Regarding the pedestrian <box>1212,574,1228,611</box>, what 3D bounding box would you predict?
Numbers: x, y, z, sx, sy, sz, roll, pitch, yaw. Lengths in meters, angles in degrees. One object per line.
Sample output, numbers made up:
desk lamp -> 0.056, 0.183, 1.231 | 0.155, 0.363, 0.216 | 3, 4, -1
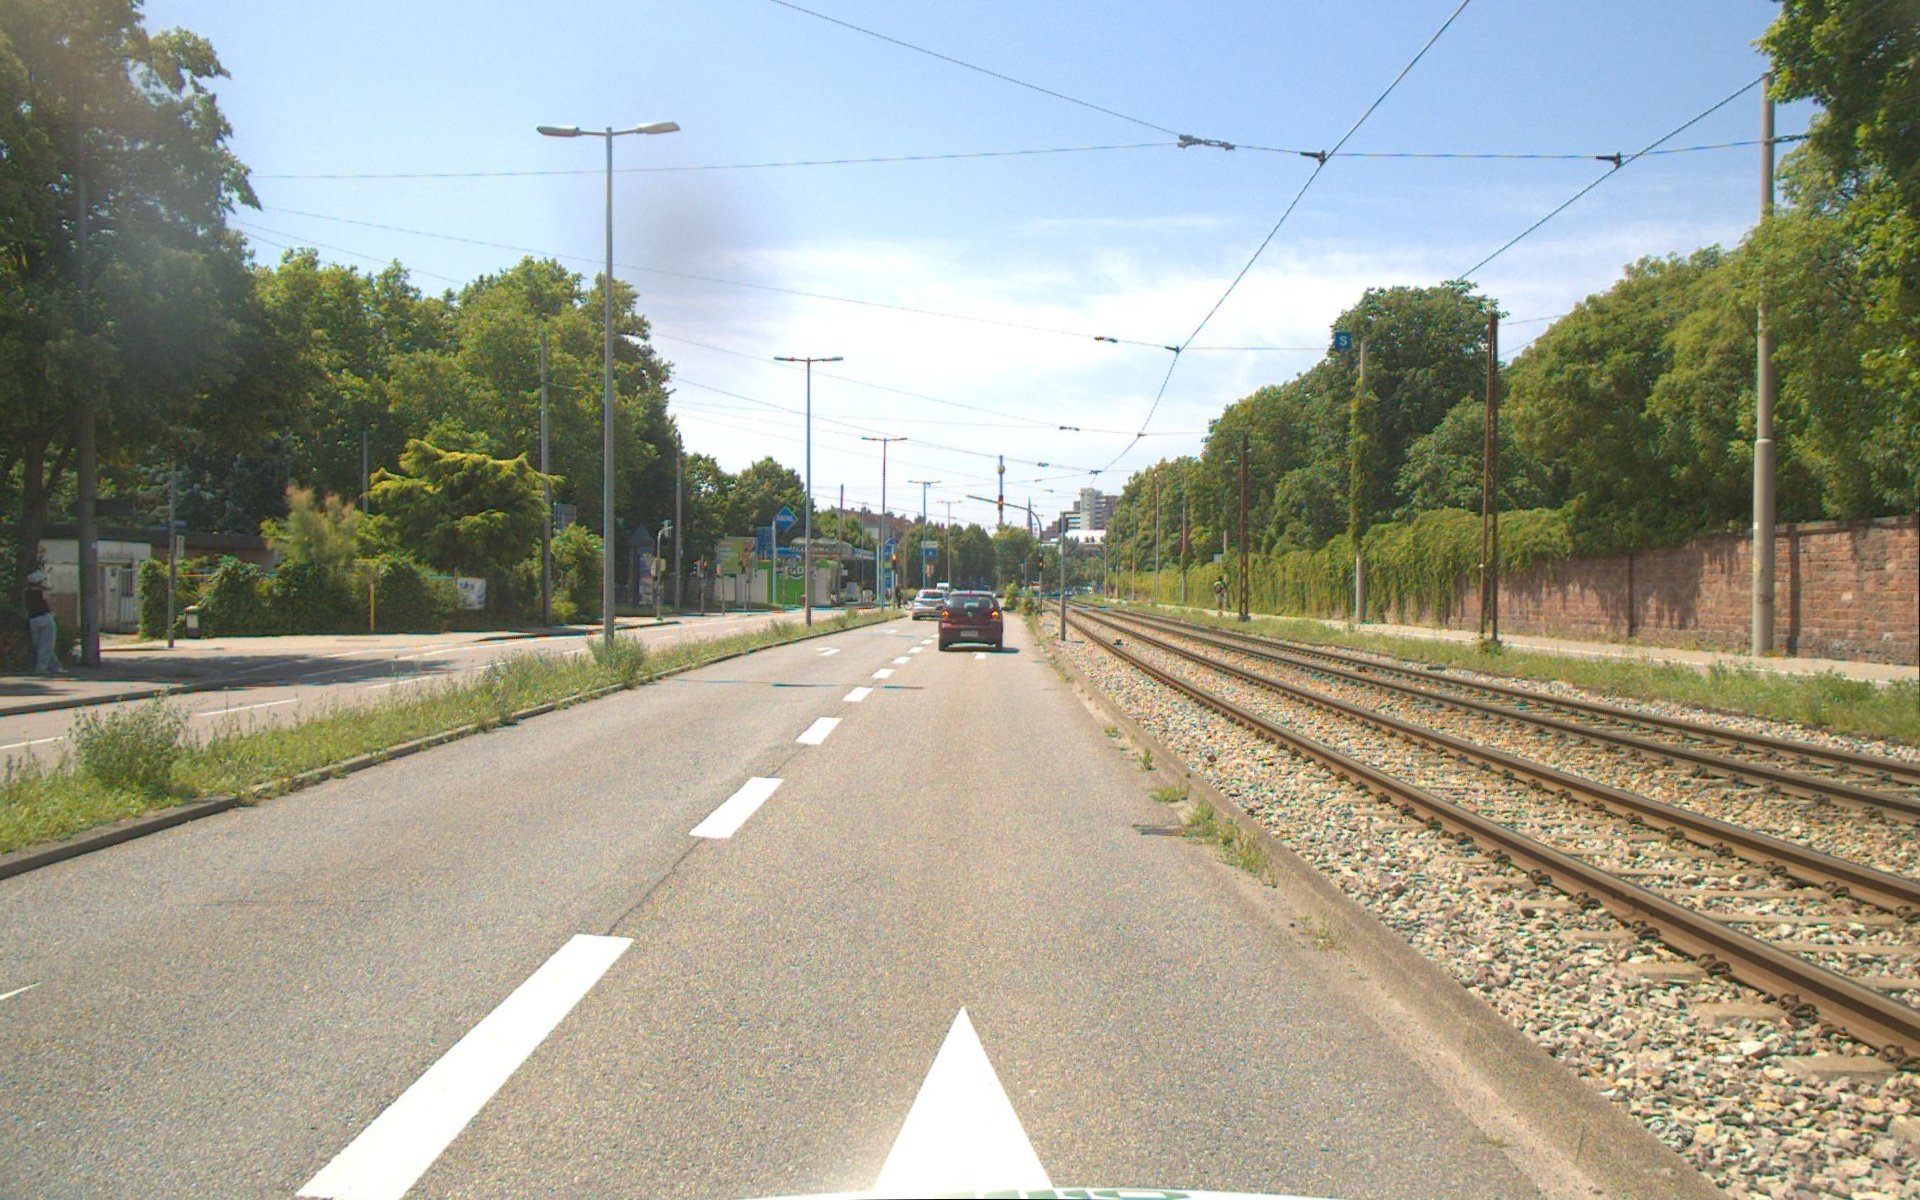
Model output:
pedestrian -> 12.494, -0.370, 79.622 | 0.648, 1.756, 0.816 | 0, 0, 1

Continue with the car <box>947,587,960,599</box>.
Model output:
car -> -1.038, -1.112, 261.444 | 1.712, 1.716, 4.002 | 0, 1, 3

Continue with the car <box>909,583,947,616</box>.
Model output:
car -> -1.556, -0.033, 80.095 | 1.669, 1.506, 3.714 | 1, 0, -3

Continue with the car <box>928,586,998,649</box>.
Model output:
car -> 0.088, 0.411, 41.860 | 1.668, 1.503, 3.716 | 1, 0, 0

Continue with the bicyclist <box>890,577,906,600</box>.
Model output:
bicyclist -> -4.387, -0.820, 117.602 | 0.928, 1.621, 1.084 | 1, -1, -13

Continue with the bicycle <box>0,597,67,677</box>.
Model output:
bicycle -> -16.477, 0.626, 28.887 | 0.632, 1.351, 1.574 | 0, 0, 14

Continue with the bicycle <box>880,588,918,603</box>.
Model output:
bicycle -> -4.345, -0.321, 117.579 | 2.506, 1.056, 1.084 | 1, -1, -13

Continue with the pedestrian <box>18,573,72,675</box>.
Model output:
pedestrian -> -15.885, 0.407, 28.725 | 0.537, 1.748, 0.604 | 0, 0, 14
